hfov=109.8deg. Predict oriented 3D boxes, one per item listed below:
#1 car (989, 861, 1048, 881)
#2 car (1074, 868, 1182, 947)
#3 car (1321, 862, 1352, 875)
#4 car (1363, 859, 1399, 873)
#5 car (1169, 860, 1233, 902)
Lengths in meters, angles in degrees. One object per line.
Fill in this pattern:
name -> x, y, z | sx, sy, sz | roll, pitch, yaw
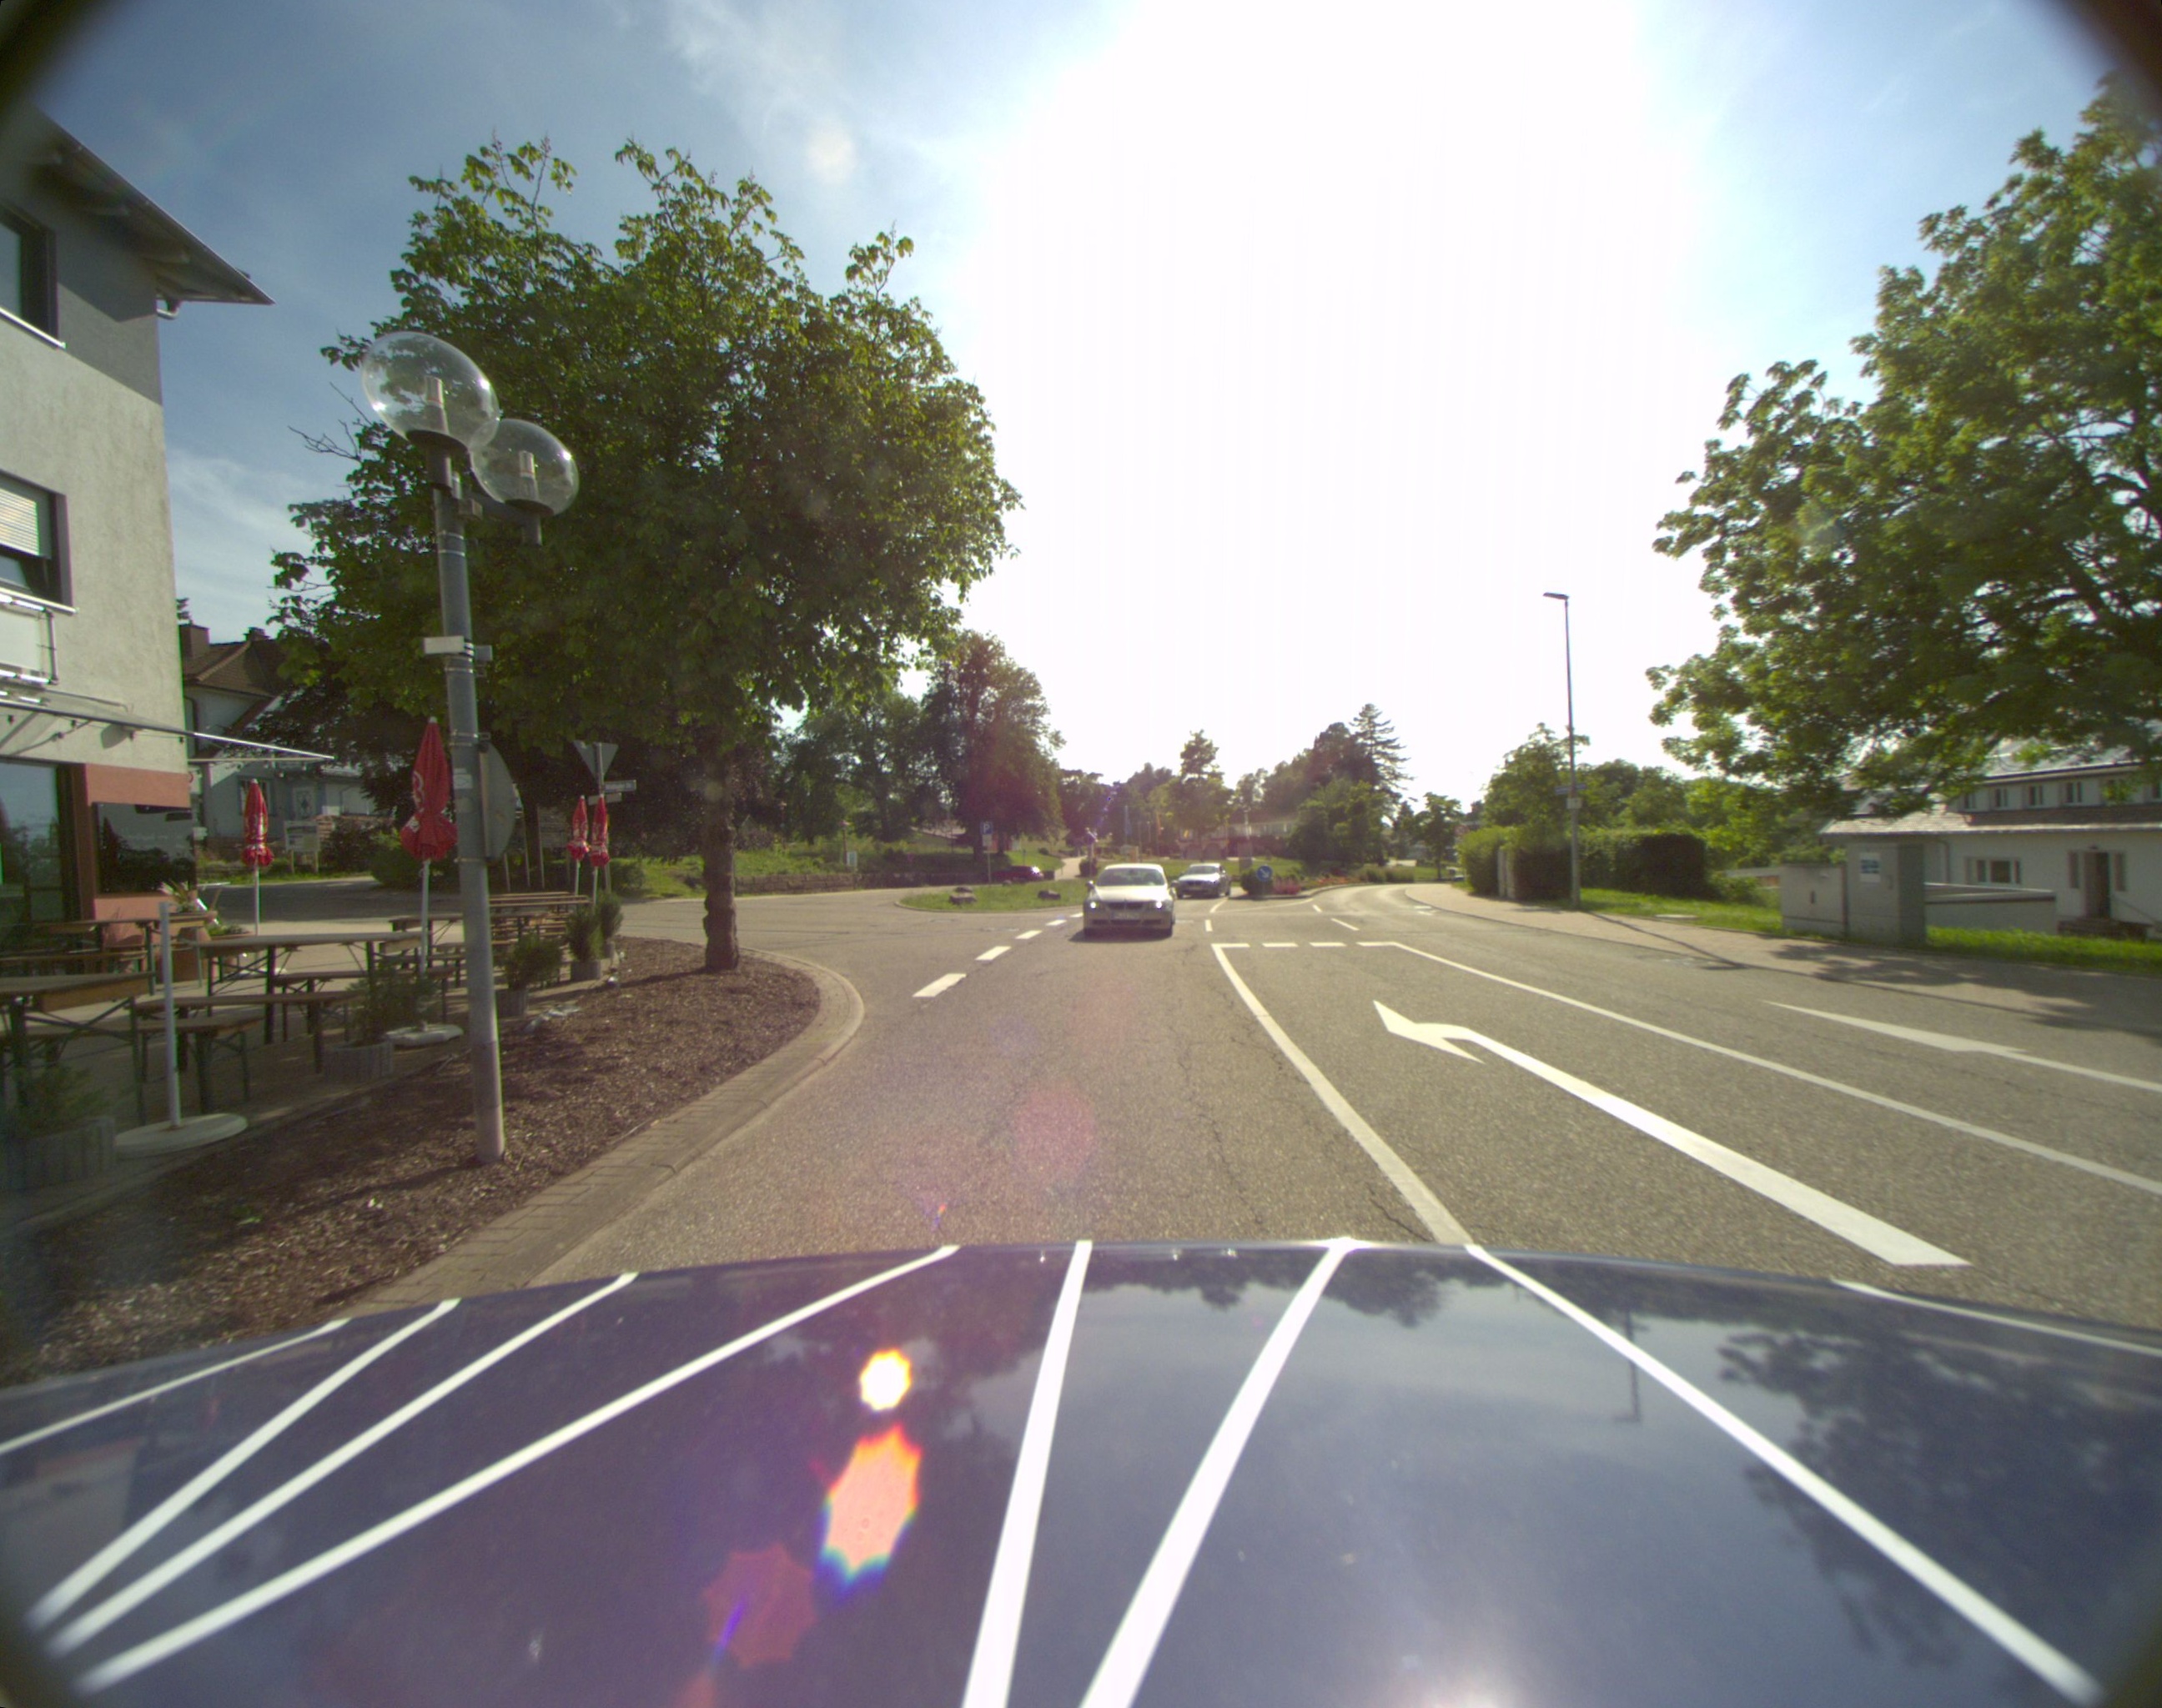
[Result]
car -> -4.822, 1.292, 58.436 | 4.255, 1.420, 1.705 | 0, 0, 26
car -> 1.164, 1.027, 16.399 | 1.837, 1.360, 4.585 | 0, 0, 10
car -> 30.891, 1.731, 92.065 | 1.716, 1.396, 3.305 | 0, 2, -25
car -> 37.331, 1.463, 94.669 | 2.002, 1.609, 3.992 | 1, 1, -21
car -> 5.075, 1.077, 31.736 | 1.900, 1.499, 4.006 | 2, 1, 19
